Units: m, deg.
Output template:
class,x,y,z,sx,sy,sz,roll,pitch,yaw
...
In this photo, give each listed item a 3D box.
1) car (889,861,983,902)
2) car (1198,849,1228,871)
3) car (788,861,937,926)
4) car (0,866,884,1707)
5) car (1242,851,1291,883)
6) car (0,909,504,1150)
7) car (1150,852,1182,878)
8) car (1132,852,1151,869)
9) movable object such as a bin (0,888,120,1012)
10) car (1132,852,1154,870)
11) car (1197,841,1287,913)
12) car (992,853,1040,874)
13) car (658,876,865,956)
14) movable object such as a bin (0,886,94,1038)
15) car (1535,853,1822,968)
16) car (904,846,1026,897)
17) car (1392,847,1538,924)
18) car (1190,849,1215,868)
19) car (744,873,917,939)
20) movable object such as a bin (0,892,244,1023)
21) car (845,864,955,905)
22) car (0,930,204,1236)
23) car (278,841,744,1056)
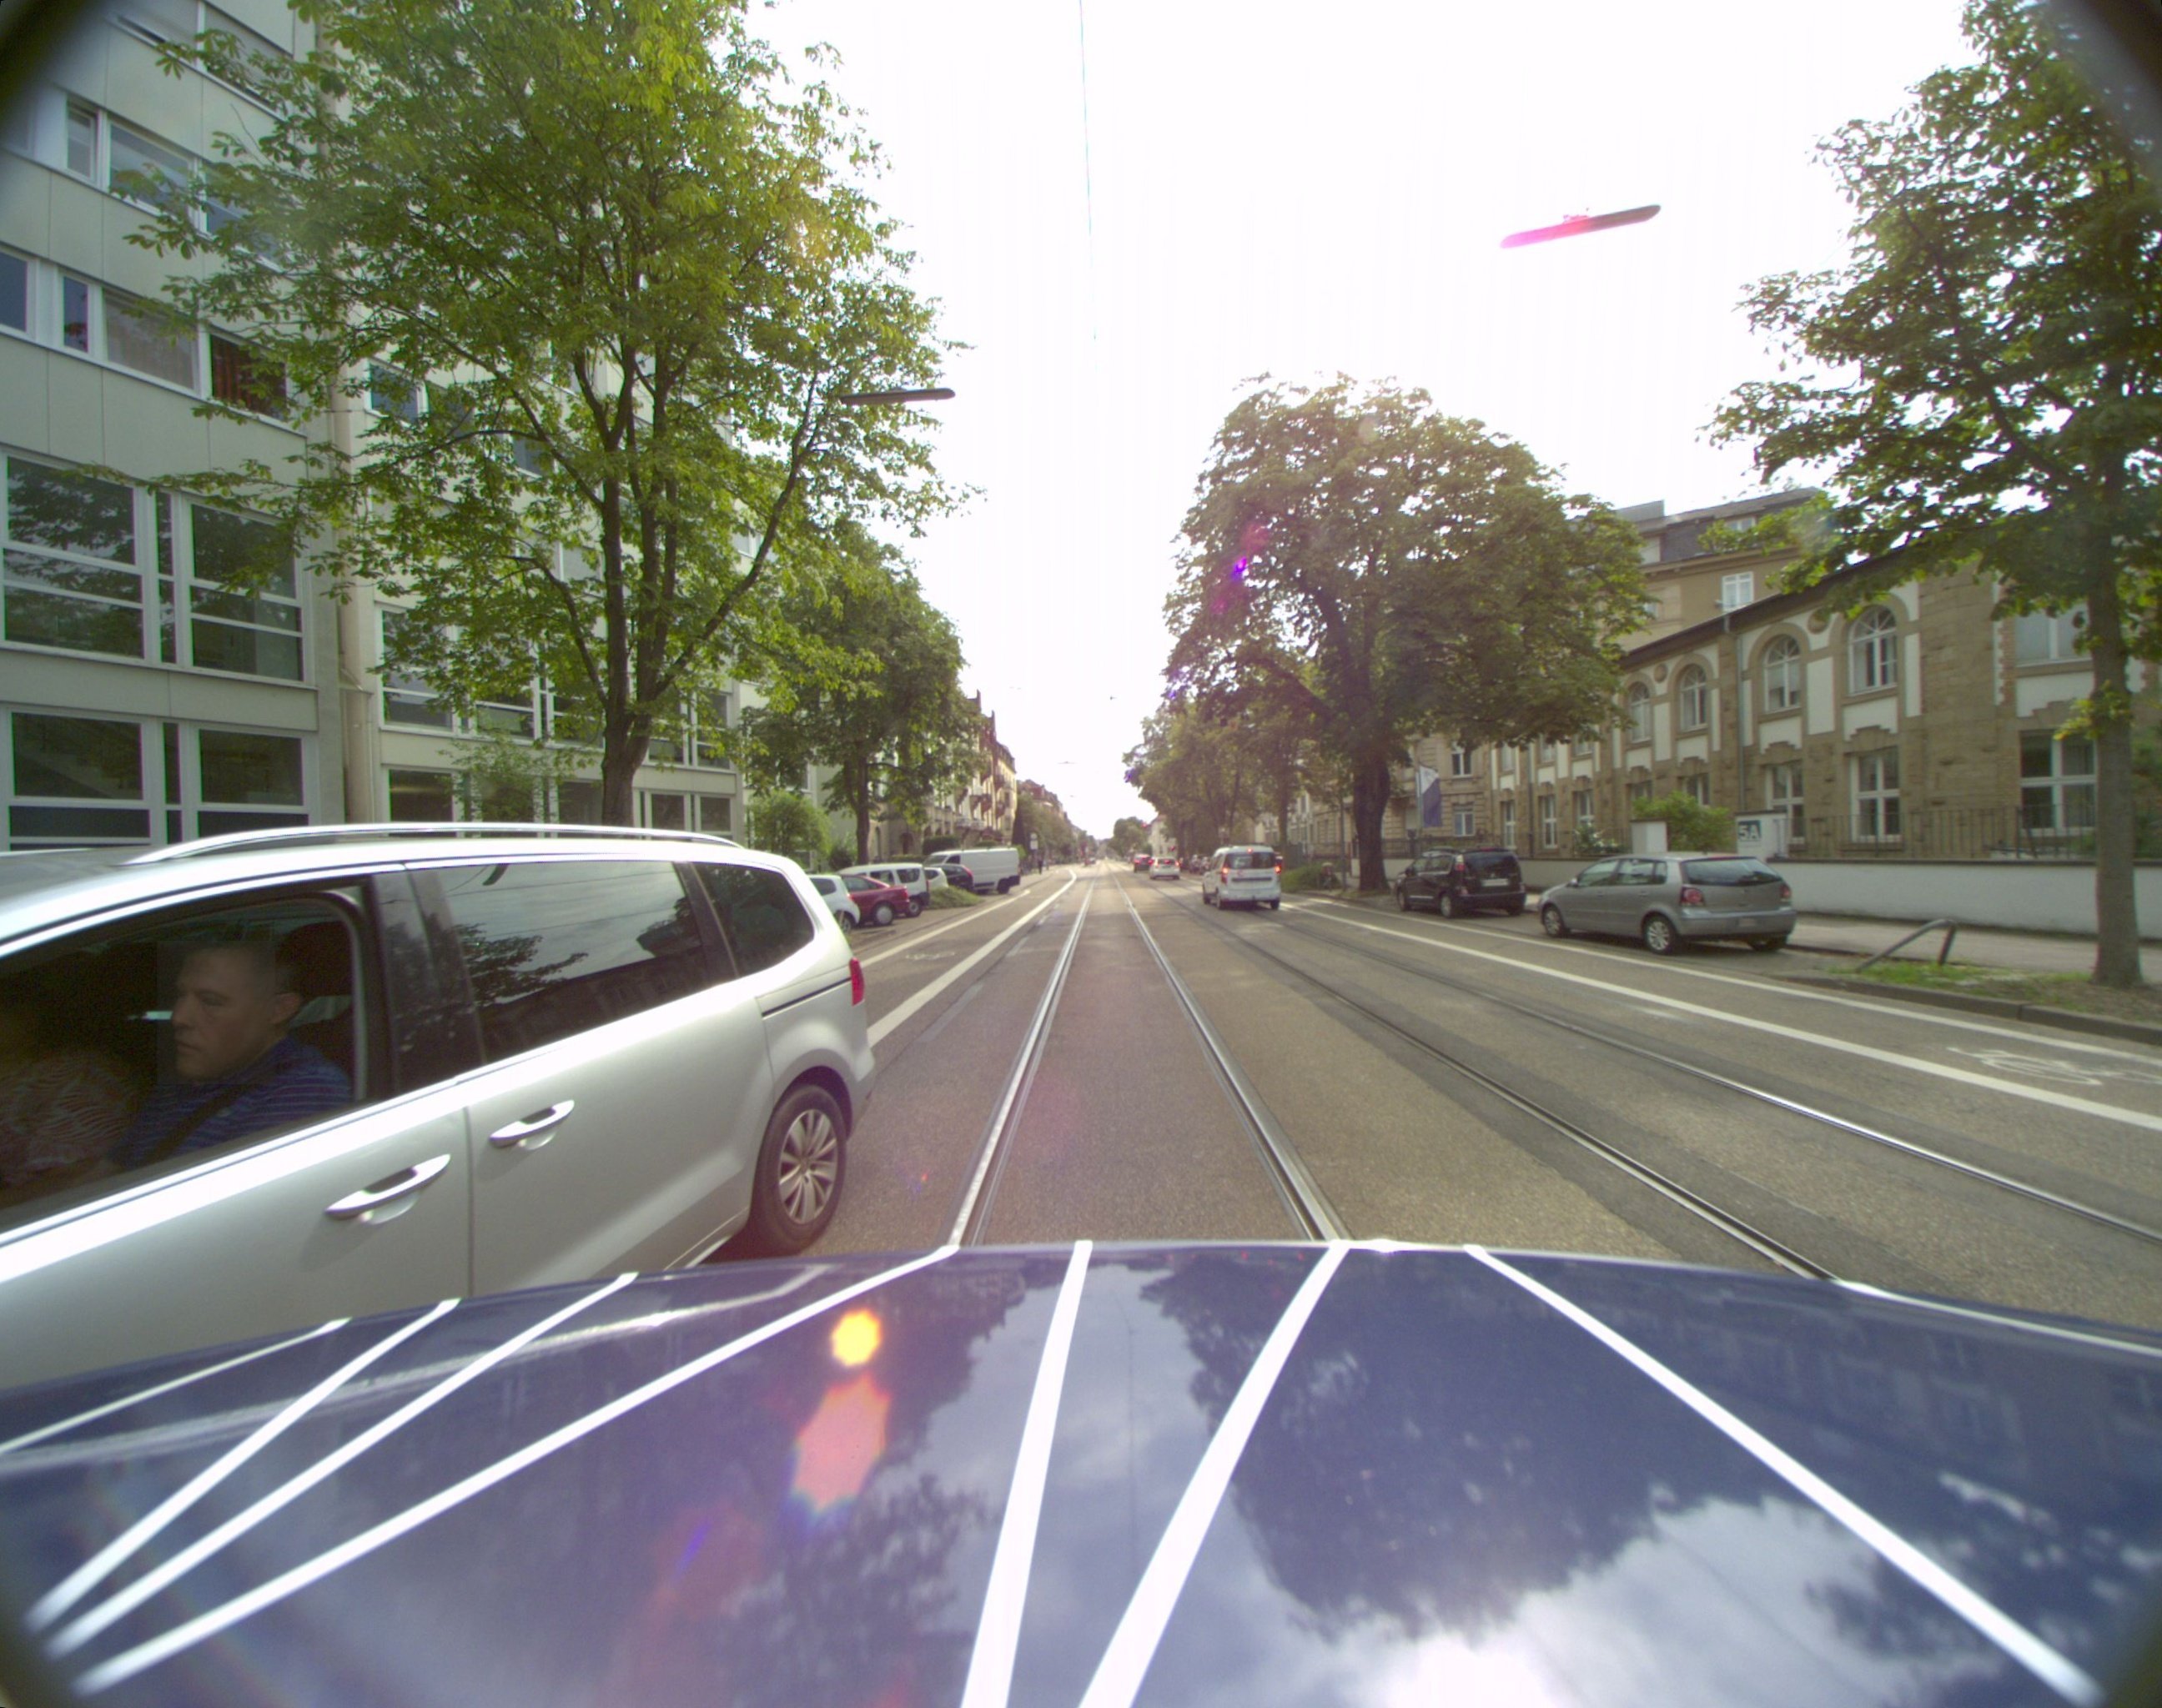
class,x,y,z,sx,sy,sz,roll,pitch,yaw
car,-6.309,1.146,33.011,3.649,1.580,1.764,-2,1,-25
car,10.445,0.484,60.364,1.658,1.624,3.906,-2,0,1
car,-6.425,1.093,22.511,3.777,1.609,1.809,-2,1,-40
car,-2.342,0.952,1.673,1.815,1.691,4.621,-2,0,11
car,9.964,0.668,41.066,1.658,1.624,3.906,-2,0,1
car,-7.365,1.308,6.213,3.980,1.379,1.810,-3,-1,-44
car,5.566,0.673,50.017,1.736,1.603,4.334,-1,0,2
car,6.802,0.675,85.740,1.799,1.813,4.678,-2,0,1
movable object such as a bin,-14.439,1.293,10.531,1.177,1.559,1.177,-2,1,30
car,6.057,0.687,74.243,1.852,1.603,4.334,-2,0,1
car,4.660,0.622,22.667,1.736,1.873,4.378,-2,0,0
car,-5.600,0.789,65.283,3.649,1.666,1.764,-2,1,-25
car,-6.762,1.227,16.296,3.652,1.322,1.763,-3,1,-44
movable object such as a bin,-12.168,1.189,8.160,1.334,1.586,1.354,-2,0,5
car,8.902,0.740,11.748,1.632,1.456,3.574,-2,0,1
car,-5.534,0.798,36.687,5.449,2.163,2.142,-2,1,-40
car,9.082,0.678,18.336,1.658,1.624,3.725,-2,0,1
car,10.791,0.387,67.673,1.658,1.624,3.906,-2,0,1
car,-6.402,1.265,19.593,3.777,1.331,1.809,-2,1,-40
movable object such as a bin,-12.179,1.264,9.718,1.334,1.450,1.400,-2,0,5
car,-6.823,1.118,28.881,3.652,1.322,1.763,-3,1,-44
car,-6.935,1.253,3.343,3.869,1.385,1.629,-2,0,-45
car,-6.931,0.921,9.657,4.354,2.052,1.994,-2,0,-44
